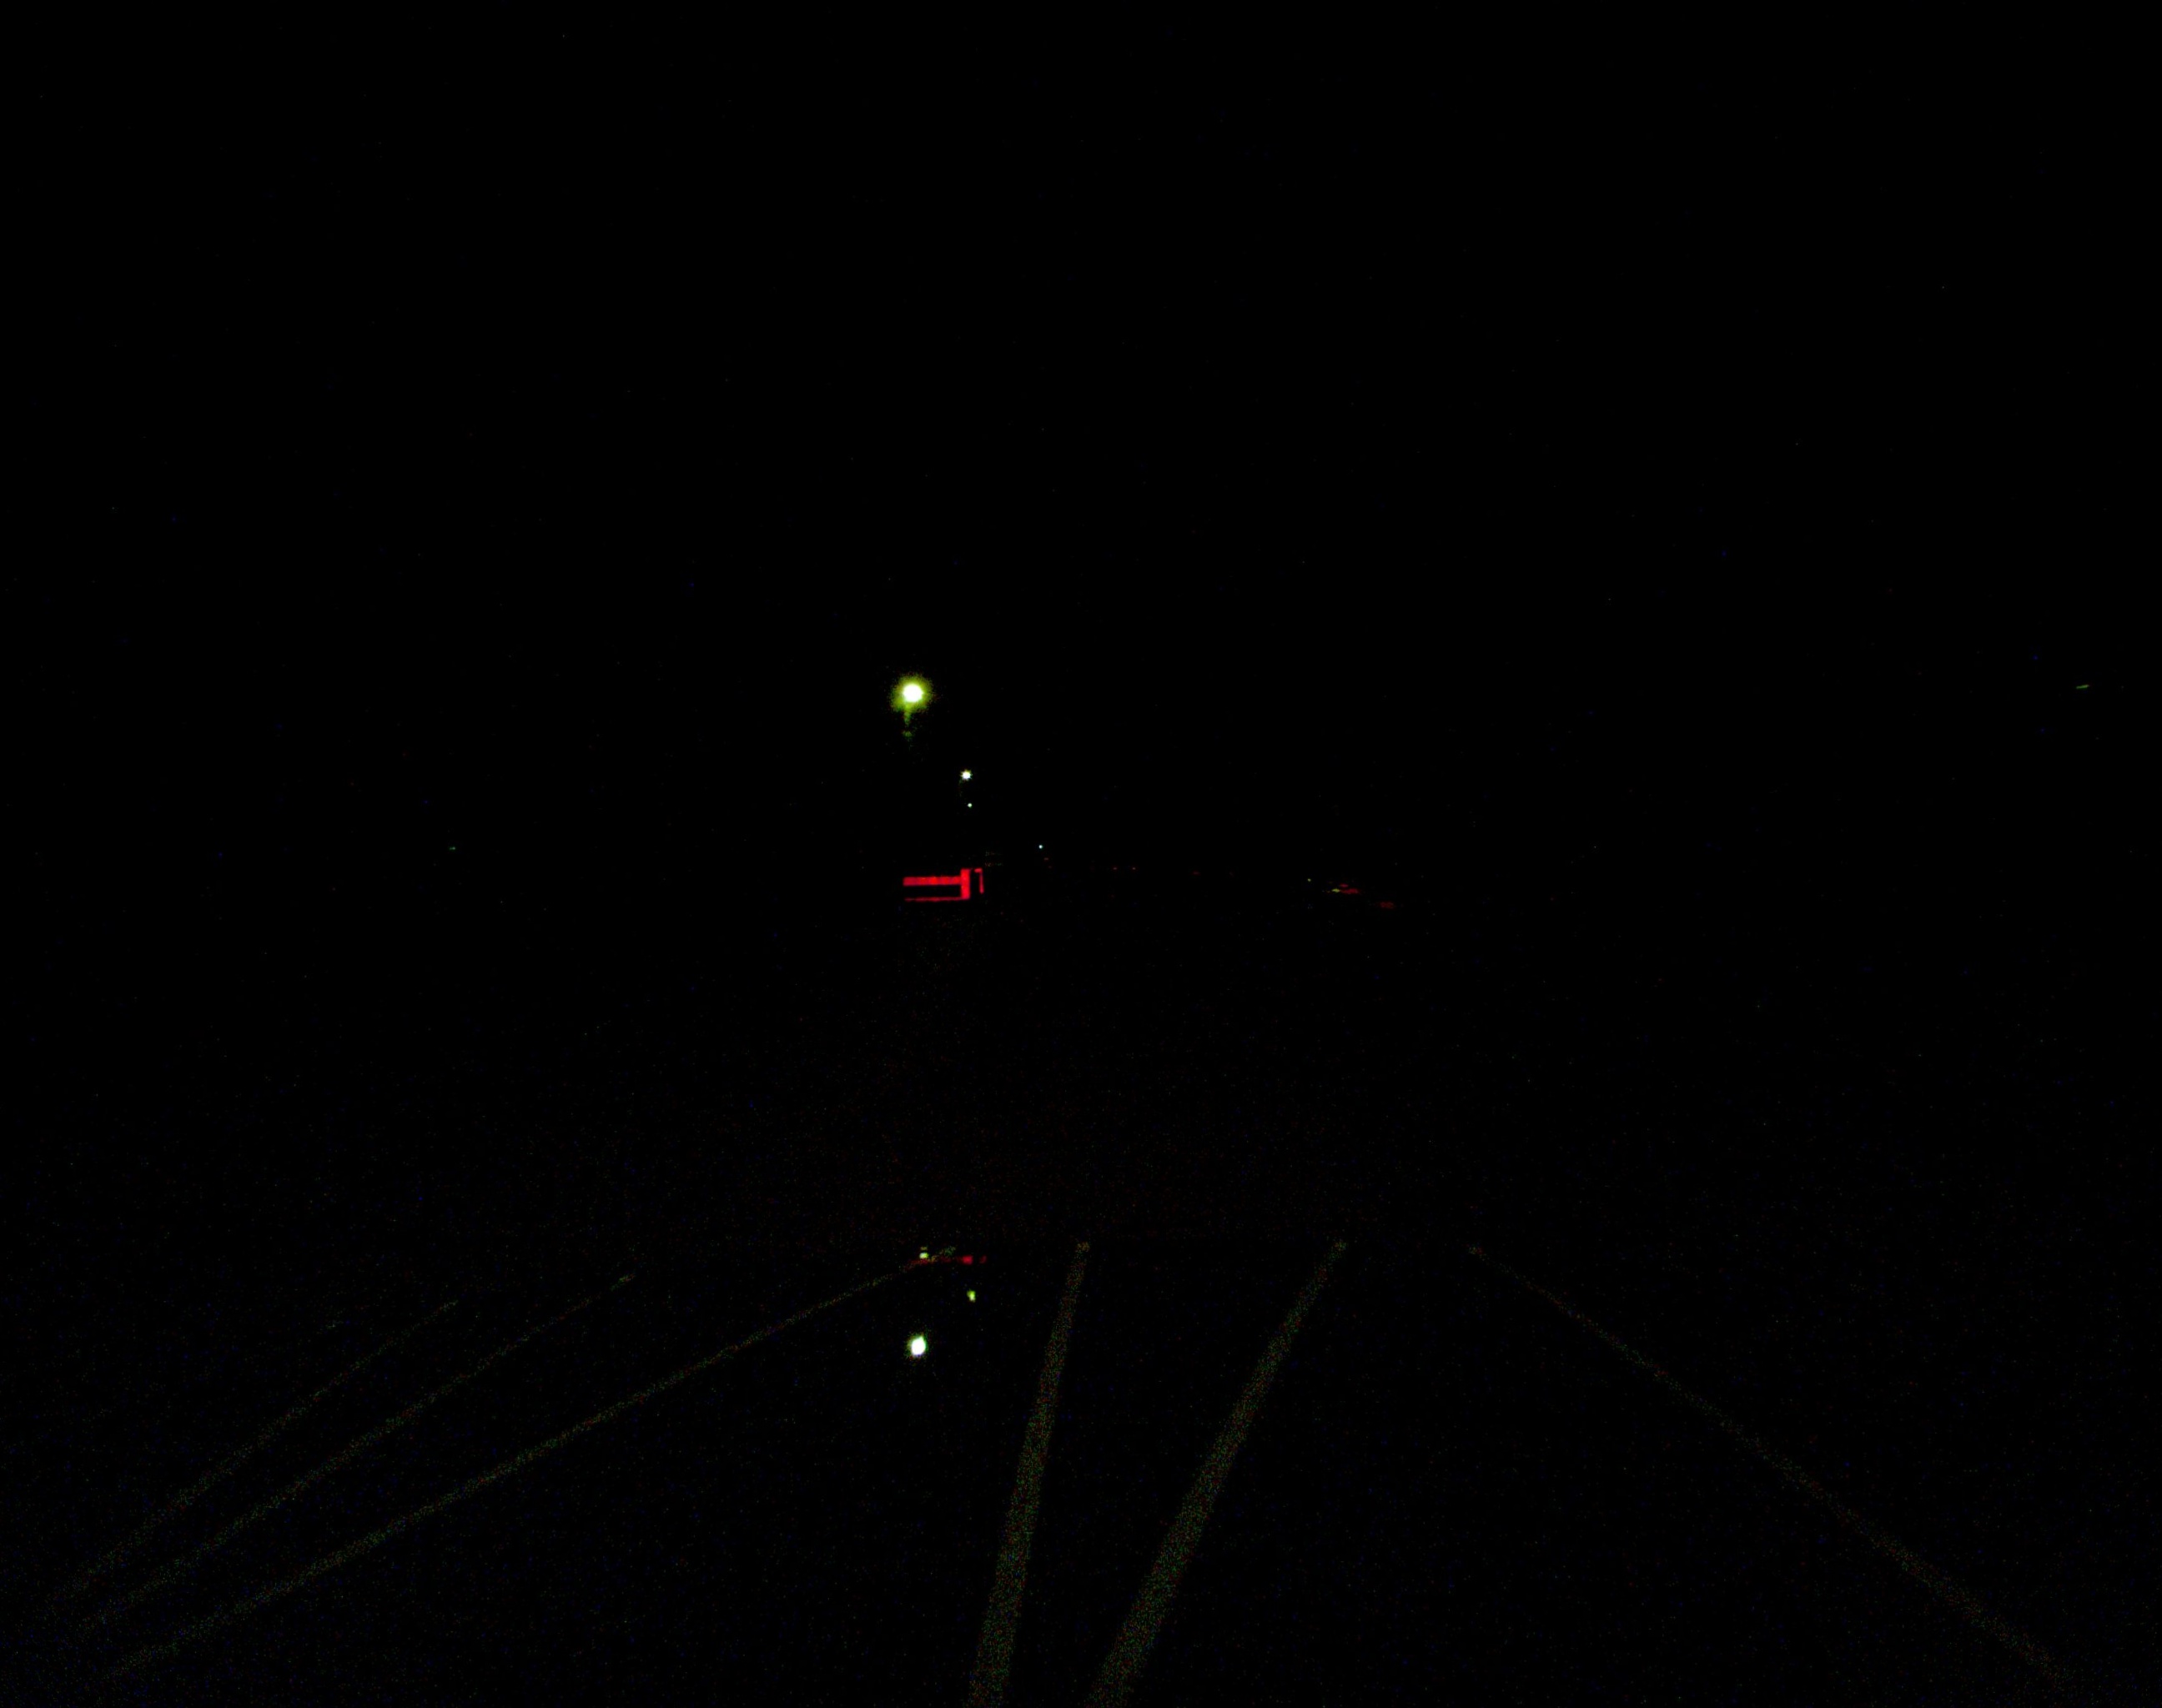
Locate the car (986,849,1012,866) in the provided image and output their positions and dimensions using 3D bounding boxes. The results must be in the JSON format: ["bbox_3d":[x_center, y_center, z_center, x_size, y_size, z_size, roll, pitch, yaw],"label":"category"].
[{"bbox_3d":[-15.691,0.688,144.994,2.393,3.224,7.215,-1,0,-28],"label":"car"}]

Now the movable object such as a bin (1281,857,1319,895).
[{"bbox_3d":[8.747,0.876,30.375,1.168,1.487,1.065,0,0,-7],"label":"movable object such as a bin"}]

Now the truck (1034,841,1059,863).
[{"bbox_3d":[-5.330,-0.321,116.029,2.382,3.224,7.223,-1,0,-14],"label":"truck"}]

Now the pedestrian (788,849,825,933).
[{"bbox_3d":[-6.214,0.816,17.233,0.572,1.842,0.820,0,0,-3],"label":"pedestrian"}]

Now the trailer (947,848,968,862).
[{"bbox_3d":[-26.869,0.262,165.060,2.494,3.054,7.937,0,0,-25],"label":"trailer"}]

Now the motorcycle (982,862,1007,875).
[{"bbox_3d":[-7.889,1.324,68.980,2.180,1.177,0.770,-2,1,27],"label":"motorcycle"}]

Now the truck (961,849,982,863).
[{"bbox_3d":[-22.695,0.450,157.333,2.003,2.767,7.228,0,0,-28],"label":"truck"}]

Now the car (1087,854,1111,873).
[{"bbox_3d":[1.717,0.901,75.418,1.834,1.806,4.836,0,0,-5],"label":"car"}]

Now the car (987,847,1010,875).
[{"bbox_3d":[-7.909,0.629,73.233,2.026,2.512,6.049,-2,0,-5],"label":"car"}]

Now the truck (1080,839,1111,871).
[{"bbox_3d":[1.509,0.138,82.248,2.551,3.261,7.308,0,0,-5],"label":"truck"}]

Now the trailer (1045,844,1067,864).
[{"bbox_3d":[-3.668,0.058,109.599,2.213,2.779,4.610,-1,0,-15],"label":"trailer"}]

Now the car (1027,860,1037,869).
[{"bbox_3d":[-9.852,2.128,153.317,1.863,1.630,3.998,0,0,-7],"label":"car"}]

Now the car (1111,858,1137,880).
[{"bbox_3d":[3.172,1.094,56.905,1.759,1.517,4.322,-1,0,0],"label":"car"}]

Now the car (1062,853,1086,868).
[{"bbox_3d":[-0.976,0.816,97.336,2.001,1.761,4.686,-1,0,-14],"label":"car"}]

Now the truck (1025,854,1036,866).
[{"bbox_3d":[-10.733,1.305,161.919,2.139,2.597,7.096,0,0,-5],"label":"truck"}]

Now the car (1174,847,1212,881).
[{"bbox_3d":[8.064,0.677,55.198,1.998,2.308,4.966,1,0,0],"label":"car"}]

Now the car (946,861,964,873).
[{"bbox_3d":[-22.814,2.322,137.335,2.002,2.002,5.345,-2,0,-23],"label":"car"}]

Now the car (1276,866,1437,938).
[{"bbox_3d":[6.065,0.992,17.340,1.916,1.395,4.336,0,0,-3],"label":"car"}]

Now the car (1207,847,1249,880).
[{"bbox_3d":[10.730,0.701,55.688,2.213,2.308,4.624,0,0,0],"label":"car"}]
